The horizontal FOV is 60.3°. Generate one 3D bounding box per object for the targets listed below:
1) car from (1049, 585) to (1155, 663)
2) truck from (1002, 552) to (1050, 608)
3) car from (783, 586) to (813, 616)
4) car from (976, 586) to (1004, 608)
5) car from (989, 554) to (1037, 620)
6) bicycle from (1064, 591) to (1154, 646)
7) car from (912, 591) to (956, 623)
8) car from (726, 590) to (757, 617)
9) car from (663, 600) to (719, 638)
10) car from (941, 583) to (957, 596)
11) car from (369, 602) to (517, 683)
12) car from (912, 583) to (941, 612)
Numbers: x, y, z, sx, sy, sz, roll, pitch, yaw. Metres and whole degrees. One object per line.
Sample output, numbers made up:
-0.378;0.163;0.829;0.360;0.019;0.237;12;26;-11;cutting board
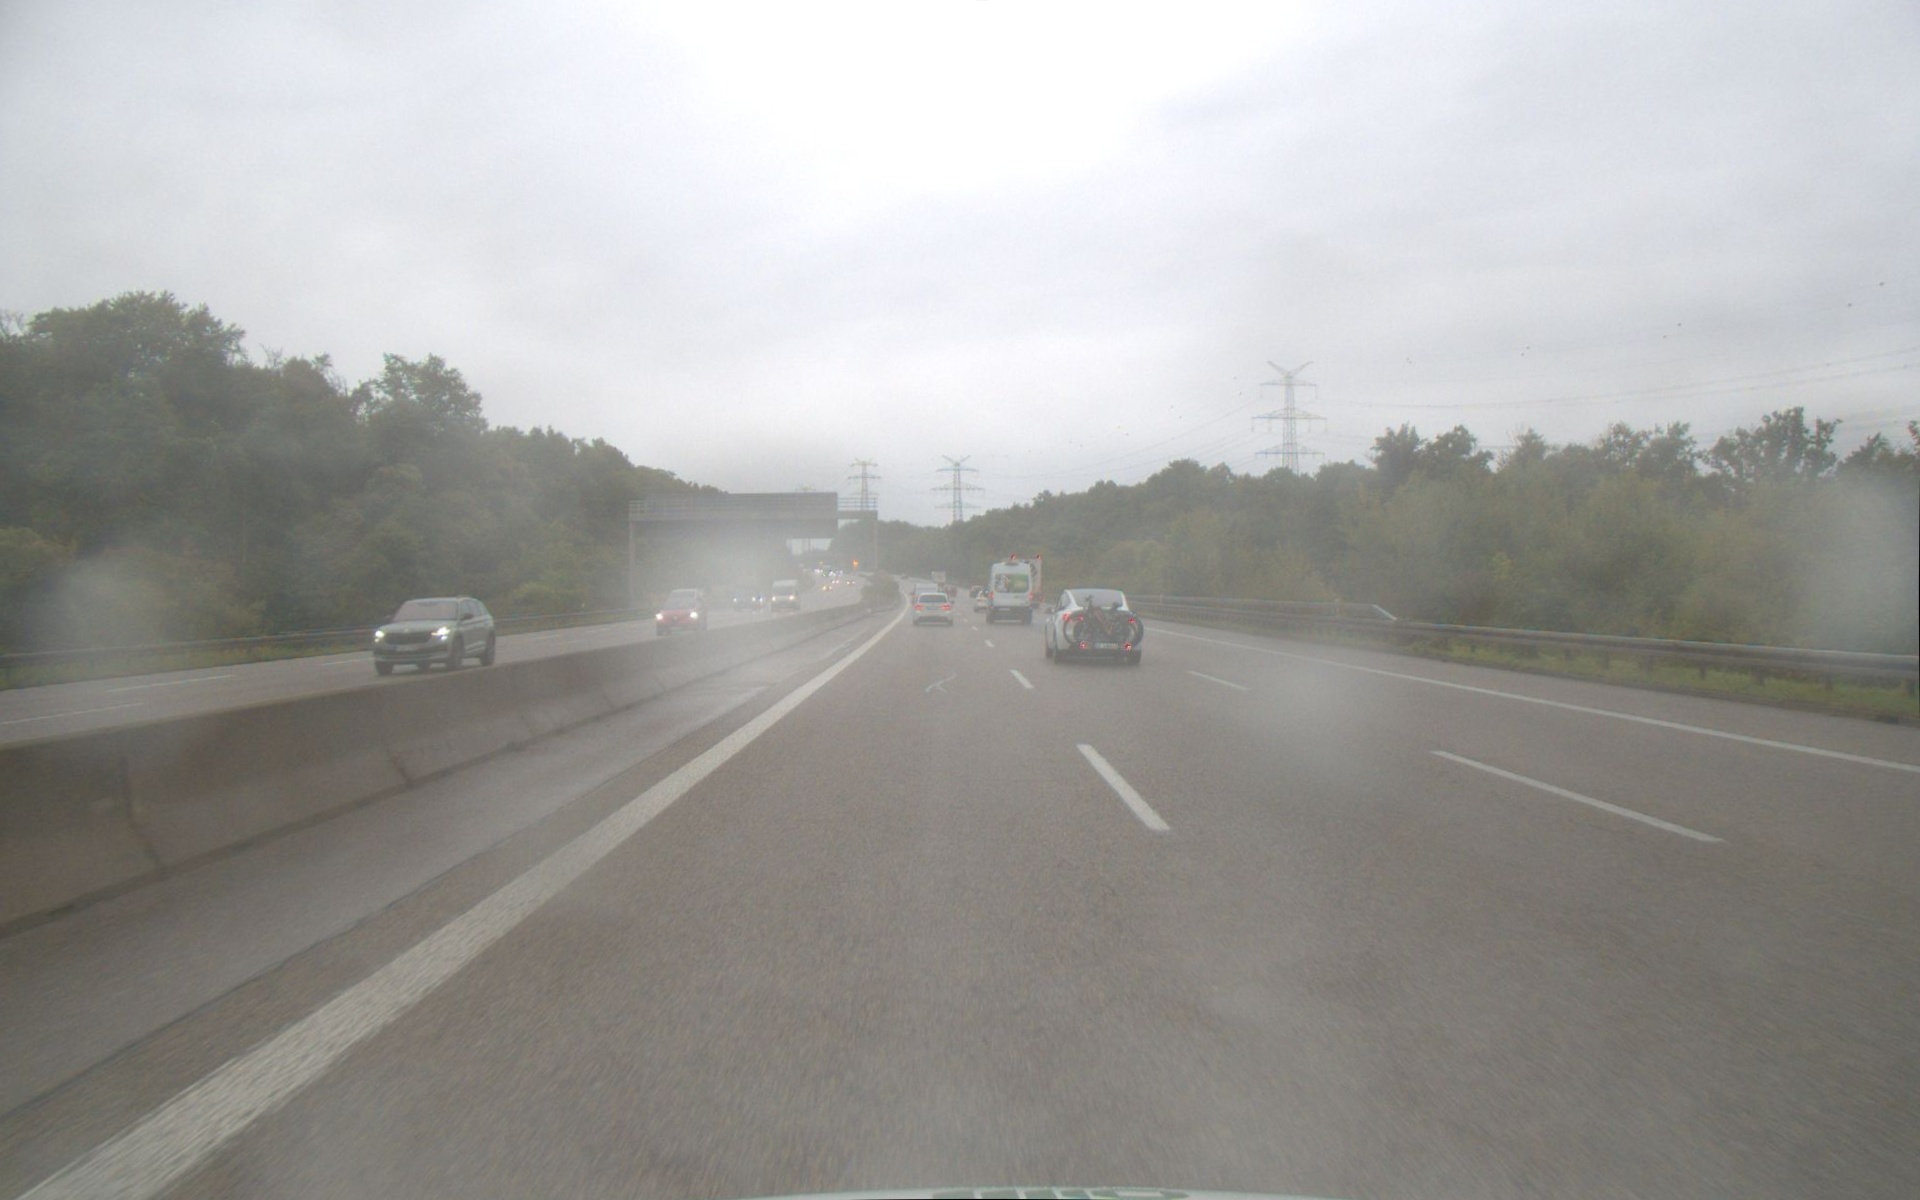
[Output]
3.095;0.487;36.997;1.822;1.595;4.963;0;1;-1;car
5.388;-1.663;137.844;3.529;4.408;13.200;0;0;0;truck
-13.234;0.095;135.362;2.232;2.372;6.169;-1;0;-5;car
2.002;-0.227;111.429;1.819;1.447;4.000;0;1;-1;car
2.464;-0.605;77.457;1.953;2.913;4.000;-3;0;0;car
3.051;0.377;33.997;1.718;1.110;0.913;0;-1;-3;bicycle
-1.153;0.281;72.311;1.829;1.310;3.999;-1;0;-1;car
-19.300;0.288;146.343;1.953;2.206;6.415;-1;0;-1;car
-10.977;0.767;67.722;1.601;1.436;4.366;-1;0;-1;car
-1.471;-1.322;213.357;1.953;1.601;3.999;-2;0;-1;car
-12.048;0.931;38.907;1.953;1.717;4.916;-1;0;-1;car
-2.166;-0.167;107.392;1.808;1.803;3.999;1;0;-1;car
